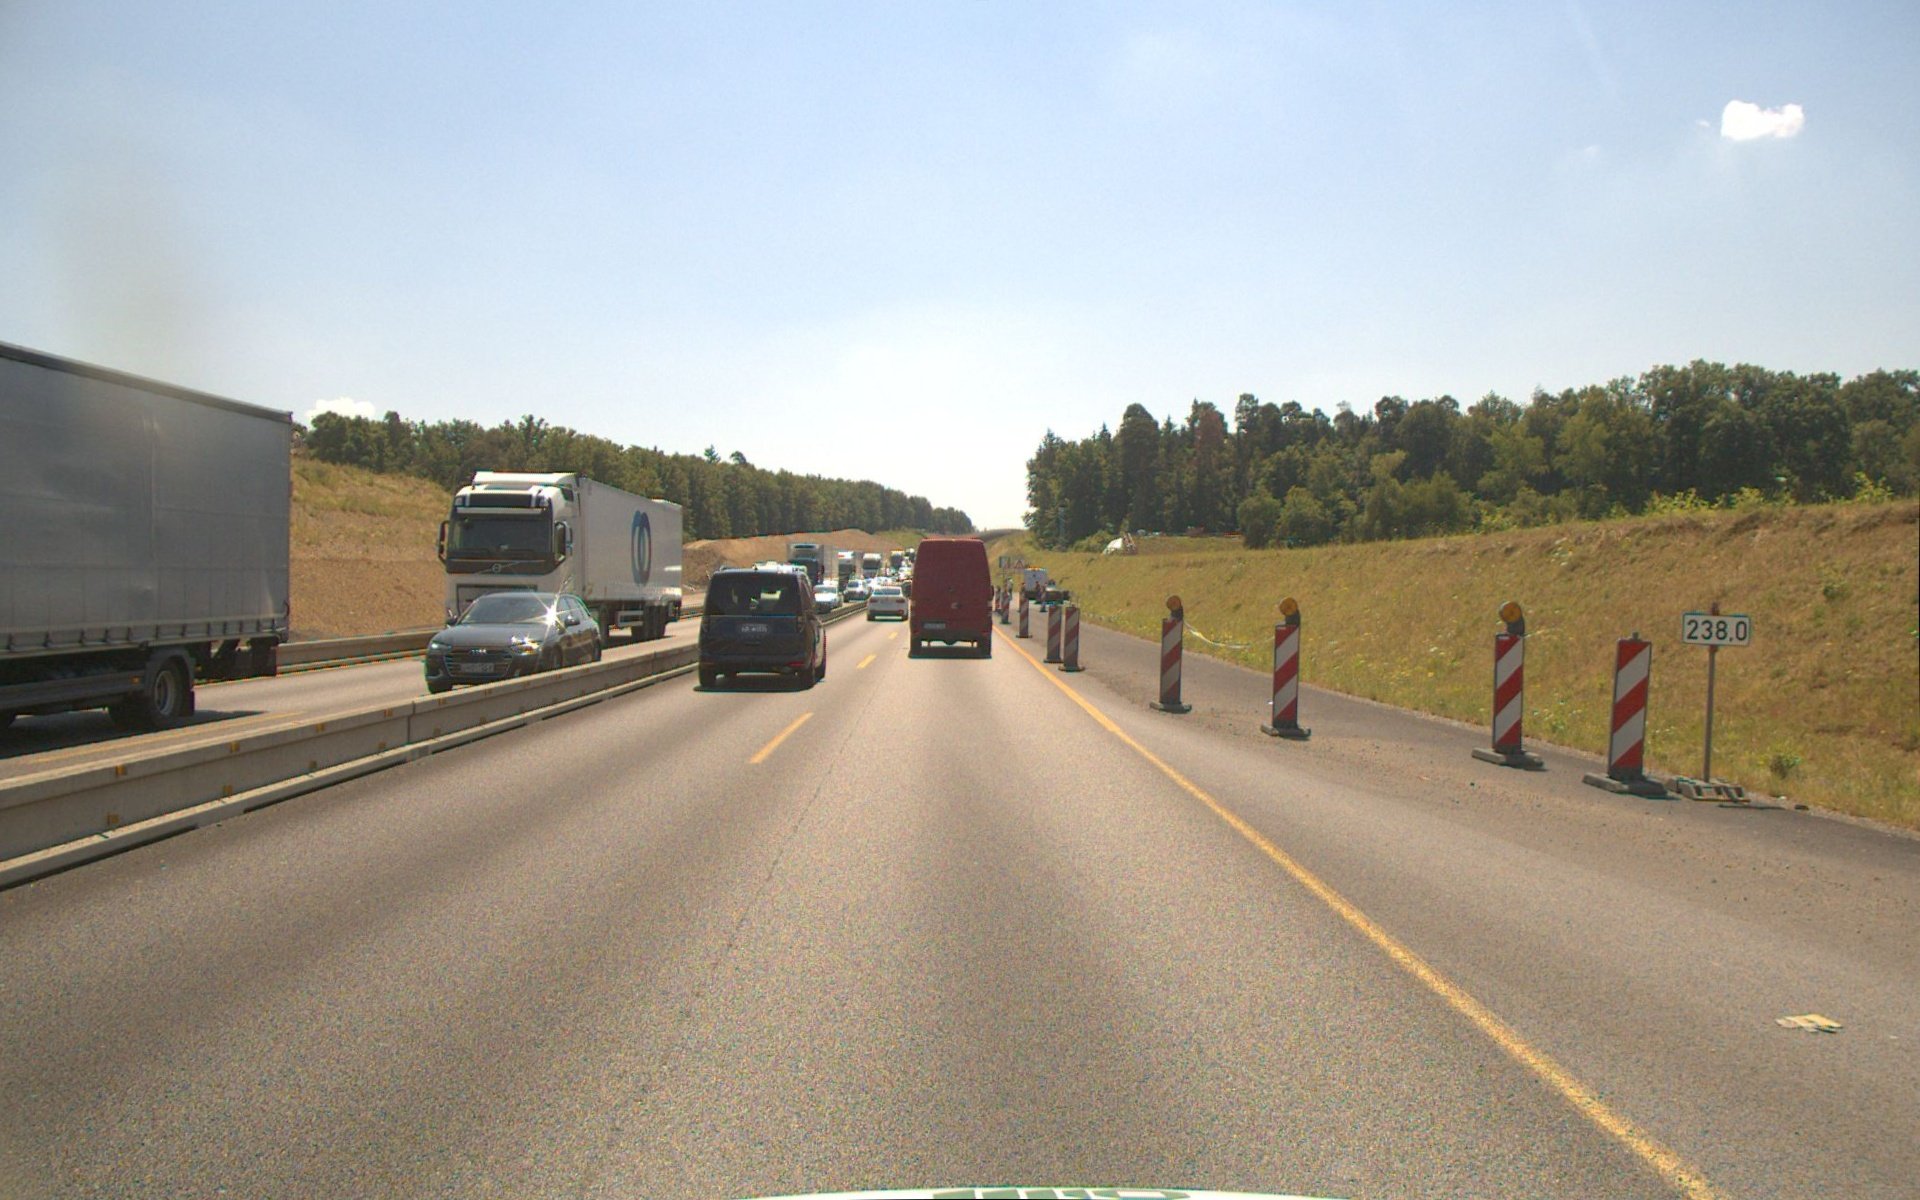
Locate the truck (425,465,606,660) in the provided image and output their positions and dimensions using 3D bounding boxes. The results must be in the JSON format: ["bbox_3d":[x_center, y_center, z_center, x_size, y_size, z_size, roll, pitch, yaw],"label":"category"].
[{"bbox_3d":[-9.960,-0.793,37.521,2.790,4.088,4.858,-1,0,-1],"label":"truck"}]

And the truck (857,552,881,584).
[{"bbox_3d":[-11.847,-4.156,215.439,2.712,4.114,4.943,1,0,0],"label":"truck"}]

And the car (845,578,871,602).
[{"bbox_3d":[-7.413,-0.724,120.513,1.654,1.642,4.592,1,0,-1],"label":"car"}]

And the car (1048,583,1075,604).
[{"bbox_3d":[7.533,-0.511,123.058,1.620,1.451,4.545,-2,1,0],"label":"car"}]

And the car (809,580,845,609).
[{"bbox_3d":[-7.152,-0.285,89.119,1.654,1.528,3.975,1,0,-1],"label":"car"}]

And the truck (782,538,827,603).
[{"bbox_3d":[-10.598,-2.023,113.035,2.440,4.271,5.911,-1,0,0],"label":"truck"}]

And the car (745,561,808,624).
[{"bbox_3d":[-7.084,-0.280,64.268,1.953,2.332,5.342,1,0,-1],"label":"car"}]

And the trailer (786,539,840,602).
[{"bbox_3d":[-10.601,-2.104,120.666,2.451,4.252,15.533,-1,1,0],"label":"trailer"}]

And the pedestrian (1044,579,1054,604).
[{"bbox_3d":[6.811,-0.642,126.136,0.613,1.860,0.640,1,1,-12],"label":"pedestrian"}]

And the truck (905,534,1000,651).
[{"bbox_3d":[-0.256,-0.175,40.162,2.110,2.635,5.331,1,0,-2],"label":"truck"}]

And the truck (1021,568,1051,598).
[{"bbox_3d":[6.499,-1.455,141.015,2.084,2.499,5.930,1,1,6],"label":"truck"}]

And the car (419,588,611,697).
[{"bbox_3d":[-6.516,0.579,24.728,1.820,1.467,4.499,1,0,-3],"label":"car"}]

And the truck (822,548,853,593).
[{"bbox_3d":[-11.402,-2.721,154.575,2.539,4.124,5.148,1,1,-2],"label":"truck"}]

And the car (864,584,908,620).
[{"bbox_3d":[-3.274,0.083,73.552,1.794,1.548,3.960,1,0,-1],"label":"car"}]

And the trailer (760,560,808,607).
[{"bbox_3d":[-10.718,-1.036,101.239,2.264,2.733,6.755,-1,1,-1],"label":"trailer"}]

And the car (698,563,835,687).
[{"bbox_3d":[-3.106,0.339,27.412,1.716,1.856,4.782,1,1,-1],"label":"car"}]

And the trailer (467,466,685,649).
[{"bbox_3d":[-9.931,-0.977,44.703,2.796,4.165,13.650,-1,0,-1],"label":"trailer"}]

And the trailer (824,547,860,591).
[{"bbox_3d":[-11.457,-2.984,161.690,2.599,4.007,13.995,1,1,-1],"label":"trailer"}]

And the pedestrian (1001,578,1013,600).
[{"bbox_3d":[3.913,-0.923,137.404,0.712,1.860,0.716,1,0,-19],"label":"pedestrian"}]

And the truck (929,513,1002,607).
[{"bbox_3d":[0.281,-2.396,107.192,4.310,5.592,16.601,1,0,0],"label":"truck"}]

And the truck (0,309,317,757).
[{"bbox_3d":[-9.427,-0.577,16.199,2.590,3.781,9.481,1,0,-1],"label":"truck"}]
